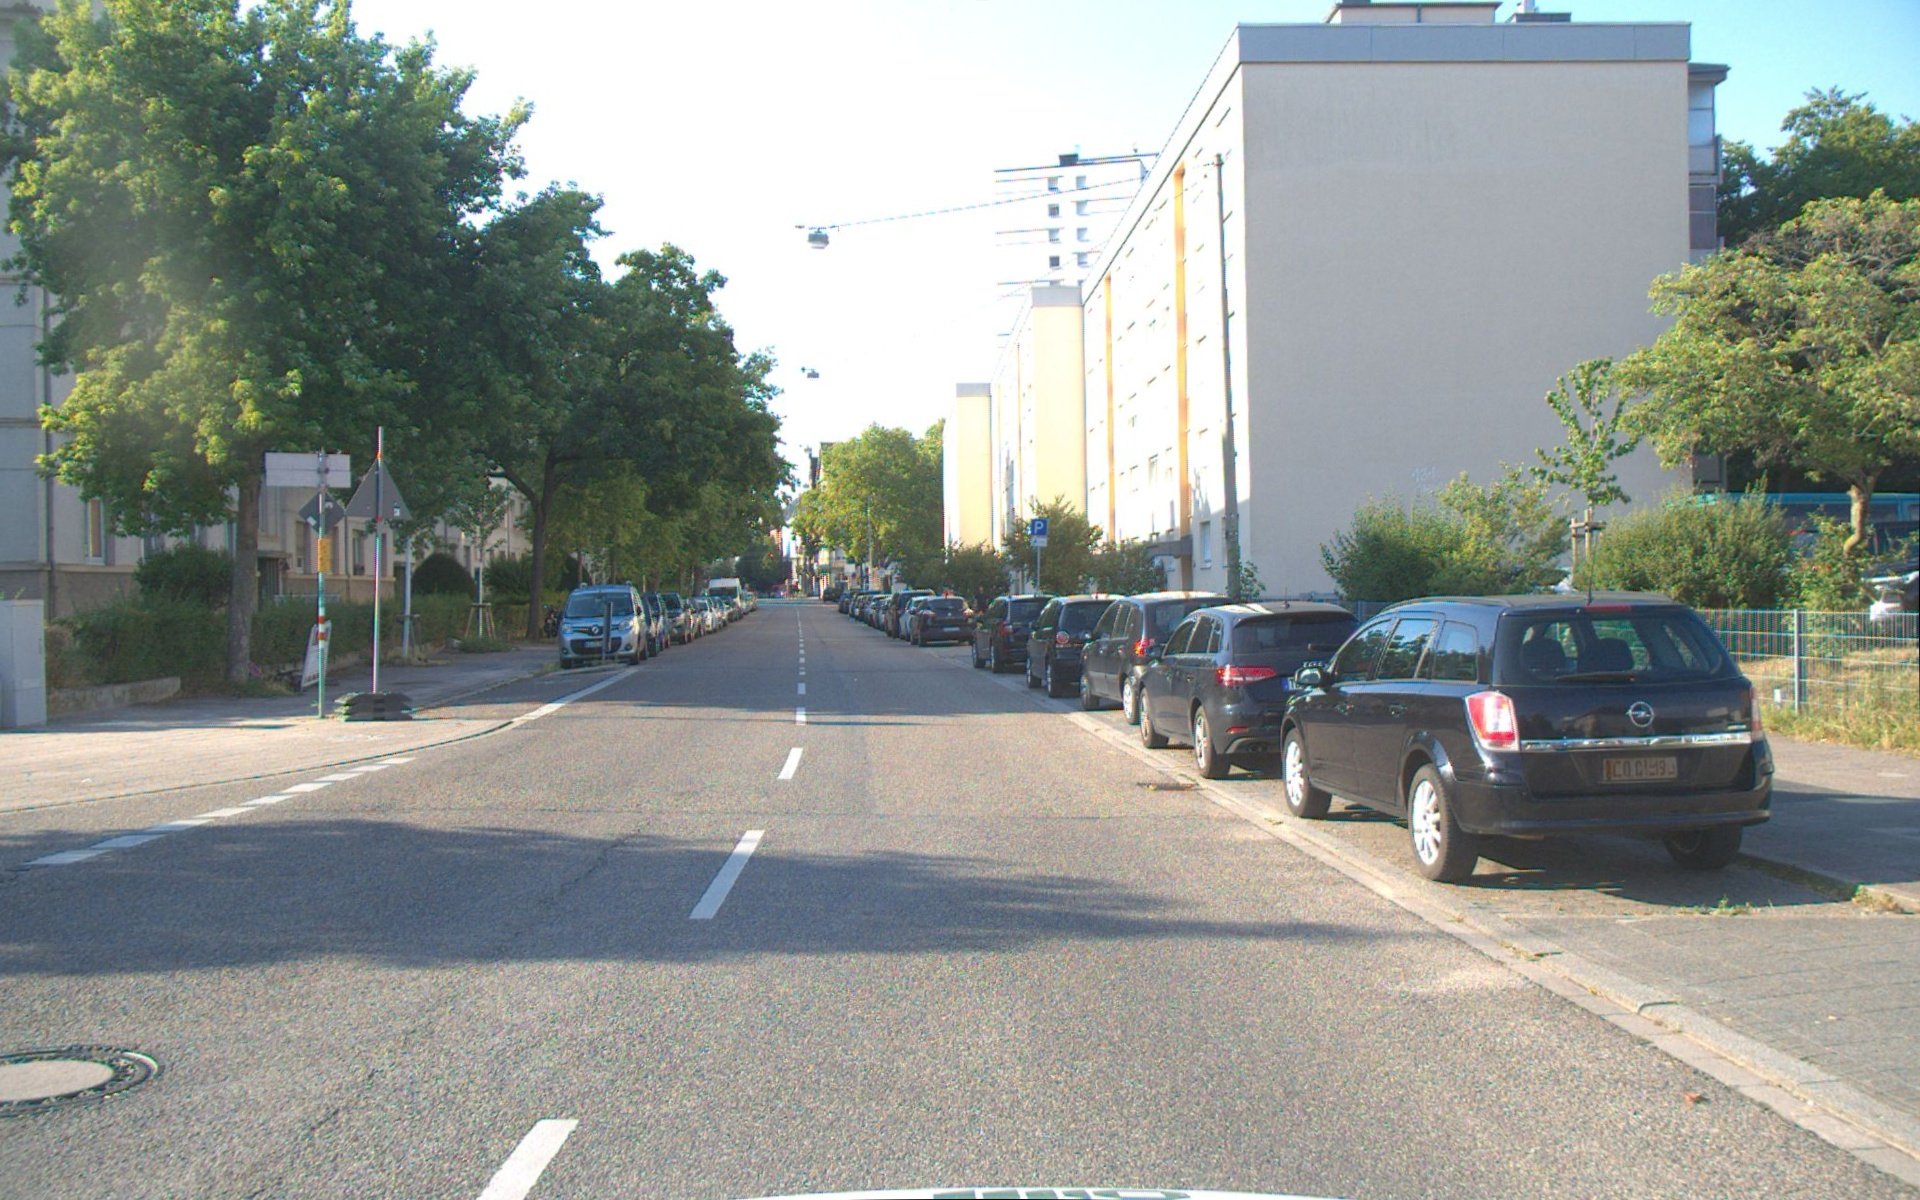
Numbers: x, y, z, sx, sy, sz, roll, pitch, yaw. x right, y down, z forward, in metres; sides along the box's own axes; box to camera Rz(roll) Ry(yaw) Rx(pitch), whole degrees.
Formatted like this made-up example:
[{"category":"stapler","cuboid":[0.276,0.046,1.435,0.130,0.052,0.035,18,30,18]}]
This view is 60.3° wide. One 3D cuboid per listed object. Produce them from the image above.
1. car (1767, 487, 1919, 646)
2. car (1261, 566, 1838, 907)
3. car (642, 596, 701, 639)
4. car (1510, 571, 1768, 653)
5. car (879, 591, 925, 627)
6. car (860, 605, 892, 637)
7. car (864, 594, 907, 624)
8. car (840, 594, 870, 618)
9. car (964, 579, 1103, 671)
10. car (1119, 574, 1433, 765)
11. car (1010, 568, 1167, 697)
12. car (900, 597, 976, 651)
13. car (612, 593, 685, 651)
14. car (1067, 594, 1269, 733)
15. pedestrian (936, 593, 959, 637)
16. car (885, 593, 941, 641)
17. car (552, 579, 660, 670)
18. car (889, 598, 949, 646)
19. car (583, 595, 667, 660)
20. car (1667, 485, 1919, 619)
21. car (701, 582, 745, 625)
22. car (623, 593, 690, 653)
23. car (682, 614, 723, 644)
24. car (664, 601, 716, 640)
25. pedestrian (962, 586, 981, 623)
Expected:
[{"category":"car","cuboid":[12.306,-0.336,20.225,3.908,1.825,1.998,1,-1,-4]},{"category":"car","cuboid":[3.247,0.687,10.172,1.707,1.567,4.436,-2,-1,-3]},{"category":"car","cuboid":[-10.352,0.653,59.578,1.838,1.459,4.795,1,-1,-7]},{"category":"car","cuboid":[13.306,0.256,32.549,4.387,1.481,1.731,1,-1,-3]},{"category":"car","cuboid":[-2.608,0.418,73.795,1.737,1.479,3.995,-3,-1,-6]},{"category":"car","cuboid":[-4.854,1.210,95.959,1.800,1.803,3.976,-1,-1,-3]},{"category":"car","cuboid":[-3.818,0.466,84.077,1.838,1.468,3.993,1,-1,-8]},{"category":"car","cuboid":[-7.877,0.451,123.864,1.862,1.679,4.336,-4,0,-7]},{"category":"car","cuboid":[1.369,0.489,32.932,1.851,1.588,4.938,-4,0,-8]},{"category":"car","cuboid":[2.814,0.602,15.897,1.863,1.556,4.807,0,-1,-3]},{"category":"car","cuboid":[1.924,0.508,26.096,1.863,1.810,4.578,1,-1,-3]},{"category":"car","cuboid":[-0.730,0.732,50.763,1.765,1.533,4.613,2,-1,-8]},{"category":"car","cuboid":[-9.062,0.646,48.393,1.838,1.579,3.993,1,-1,-8]},{"category":"car","cuboid":[2.530,0.714,20.985,1.619,1.461,3.954,-1,2,-7]},{"category":"pedestrian","cuboid":[-0.550,0.682,73.106,0.871,1.924,1.277,1,-1,-6]},{"category":"car","cuboid":[-1.796,0.654,61.994,1.737,1.707,4.640,1,-1,-6]},{"category":"car","cuboid":[-8.053,0.559,37.976,1.805,1.930,4.482,1,-1,-5]},{"category":"car","cuboid":[-1.441,0.759,56.818,1.737,1.534,3.995,-2,-1,-6]},{"category":"car","cuboid":[-8.712,0.720,43.281,1.838,1.579,3.993,1,-1,-8]},{"category":"car","cuboid":[13.014,-0.673,24.875,3.909,1.825,1.998,1,-1,-6]},{"category":"car","cuboid":[-14.532,0.263,101.795,2.312,2.488,6.157,1,-1,-6]},{"category":"car","cuboid":[-9.700,0.735,53.118,1.838,1.790,4.681,1,-1,-7]},{"category":"car","cuboid":[-12.471,1.383,80.286,1.838,1.379,4.645,1,-1,-7]},{"category":"car","cuboid":[-11.373,0.875,69.947,1.966,1.579,4.464,1,-1,-7]},{"category":"pedestrian","cuboid":[0.540,0.219,77.490,0.751,1.687,0.536,-3,-1,-6]}]
